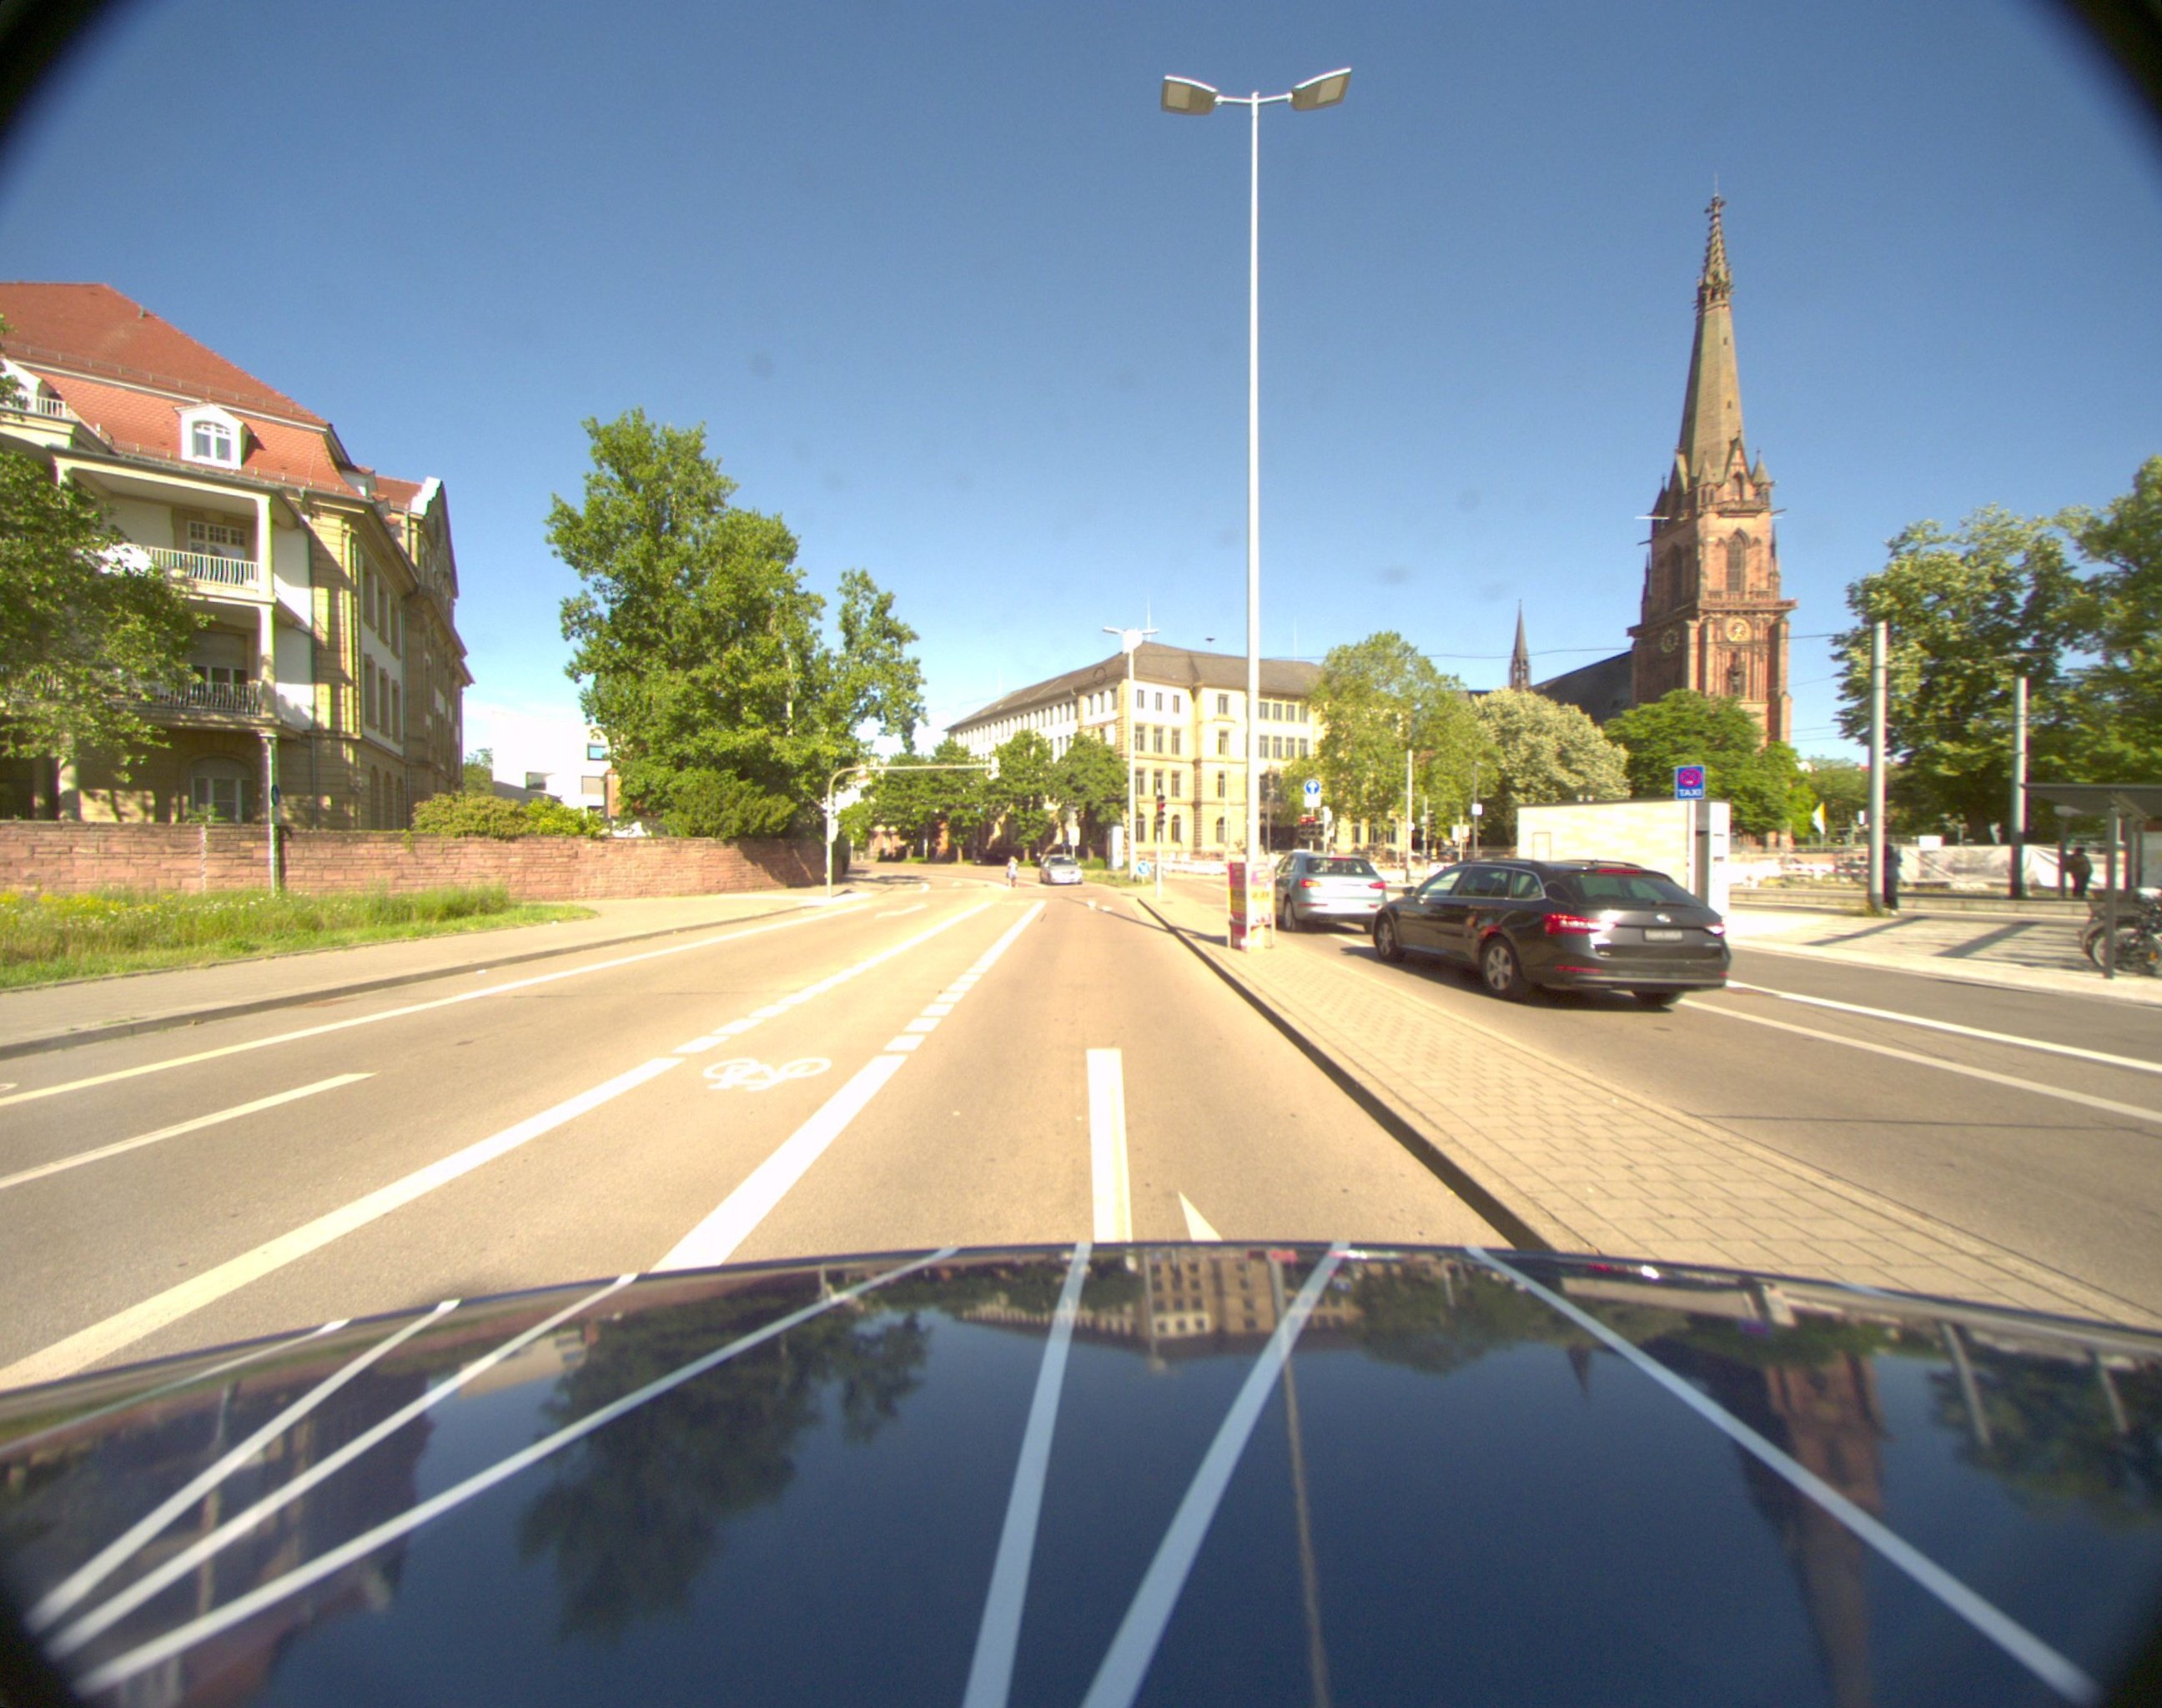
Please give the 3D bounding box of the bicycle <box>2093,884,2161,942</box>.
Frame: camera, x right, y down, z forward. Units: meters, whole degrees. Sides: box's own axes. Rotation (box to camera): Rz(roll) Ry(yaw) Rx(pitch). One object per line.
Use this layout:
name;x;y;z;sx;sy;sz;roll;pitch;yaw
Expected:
bicycle;19.512;1.065;13.581;0.407;0.993;1.679;-3;2;-33

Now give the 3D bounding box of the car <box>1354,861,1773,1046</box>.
car;5.044;0.883;8.978;1.818;1.496;4.783;2;0;-1

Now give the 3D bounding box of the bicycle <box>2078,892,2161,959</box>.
bicycle;17.183;1.142;12.014;0.407;0.993;1.679;-3;2;-33

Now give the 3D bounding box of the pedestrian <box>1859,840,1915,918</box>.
pedestrian;19.532;0.594;18.419;0.701;1.849;0.621;0;1;19

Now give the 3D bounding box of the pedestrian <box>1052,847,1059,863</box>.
pedestrian;-2.877;0.100;84.362;0.540;1.710;0.545;-1;1;-37

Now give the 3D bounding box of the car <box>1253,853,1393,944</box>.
car;4.818;0.796;15.763;1.791;1.572;4.259;1;0;4

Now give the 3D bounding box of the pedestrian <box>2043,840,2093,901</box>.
pedestrian;30.692;0.501;23.631;0.619;1.849;0.703;0;1;11

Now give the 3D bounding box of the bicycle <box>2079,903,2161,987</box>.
bicycle;13.983;1.189;9.553;0.407;0.993;1.678;-3;3;-33

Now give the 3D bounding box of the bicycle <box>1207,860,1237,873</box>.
bicycle;10.996;0.963;59.281;2.236;0.975;0.695;0;1;36

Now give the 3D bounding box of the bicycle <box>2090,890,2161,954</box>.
bicycle;17.963;1.138;12.461;0.407;0.993;1.679;-3;2;-33

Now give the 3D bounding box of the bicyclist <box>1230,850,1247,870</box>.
bicyclist;12.138;0.463;58.512;1.141;1.531;0.684;0;1;36

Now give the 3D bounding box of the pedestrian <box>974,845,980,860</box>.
pedestrian;-13.386;-0.193;97.795;0.578;1.893;0.781;-1;1;-36

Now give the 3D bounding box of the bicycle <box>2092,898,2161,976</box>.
bicycle;15.028;1.167;10.210;0.407;0.993;1.678;-3;3;-33

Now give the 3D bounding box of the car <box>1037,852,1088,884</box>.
car;-1.090;0.715;41.612;2.000;1.580;4.847;-3;1;-10

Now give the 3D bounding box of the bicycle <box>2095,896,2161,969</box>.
bicycle;16.127;1.183;11.001;0.407;0.993;1.678;-3;3;-33

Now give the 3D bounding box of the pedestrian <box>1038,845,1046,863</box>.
pedestrian;-4.504;-0.017;87.795;0.557;2.002;0.645;-1;1;-37

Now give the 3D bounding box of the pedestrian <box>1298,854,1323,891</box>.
pedestrian;10.396;0.836;34.407;0.934;1.657;0.629;-1;1;-27

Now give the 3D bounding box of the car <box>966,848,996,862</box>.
car;-11.969;0.138;90.774;1.839;1.587;3.989;-1;1;-37

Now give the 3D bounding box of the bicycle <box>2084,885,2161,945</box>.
bicycle;19.026;1.084;13.339;0.407;0.993;1.679;-3;2;-33

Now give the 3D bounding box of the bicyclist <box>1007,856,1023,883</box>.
bicyclist;-3.451;0.785;39.776;0.741;1.363;0.626;-2;1;-6

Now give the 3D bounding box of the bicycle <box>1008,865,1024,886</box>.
bicycle;-3.428;1.121;39.738;0.741;0.989;2.305;-2;1;-6
